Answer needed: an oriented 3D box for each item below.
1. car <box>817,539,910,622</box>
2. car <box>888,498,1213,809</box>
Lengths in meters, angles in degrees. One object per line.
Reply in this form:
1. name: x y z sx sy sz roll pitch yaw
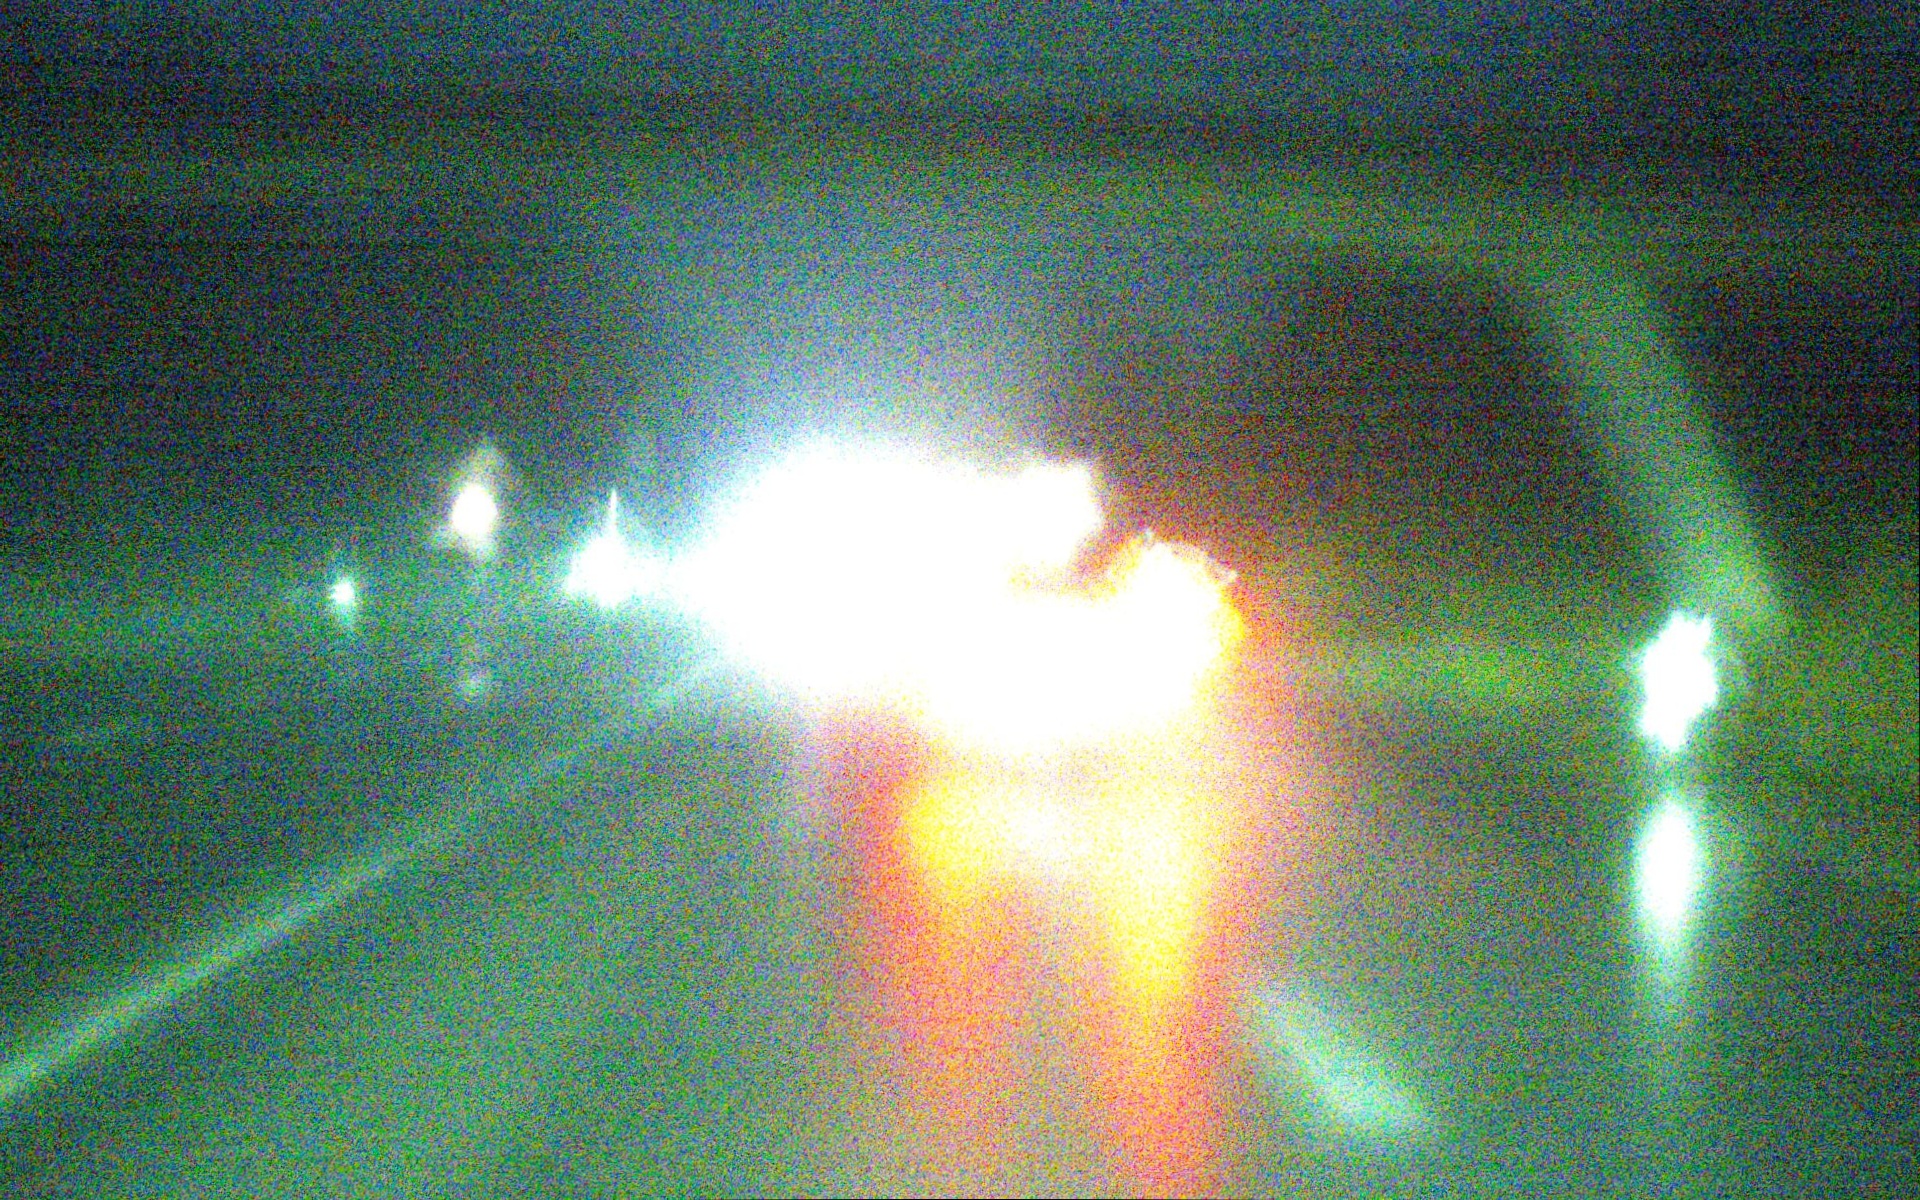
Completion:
1. car: -1.923 -0.412 68.907 1.808 1.616 4.000 0 1 -1
2. car: 0.577 0.313 24.401 2.093 2.007 4.000 1 1 0
